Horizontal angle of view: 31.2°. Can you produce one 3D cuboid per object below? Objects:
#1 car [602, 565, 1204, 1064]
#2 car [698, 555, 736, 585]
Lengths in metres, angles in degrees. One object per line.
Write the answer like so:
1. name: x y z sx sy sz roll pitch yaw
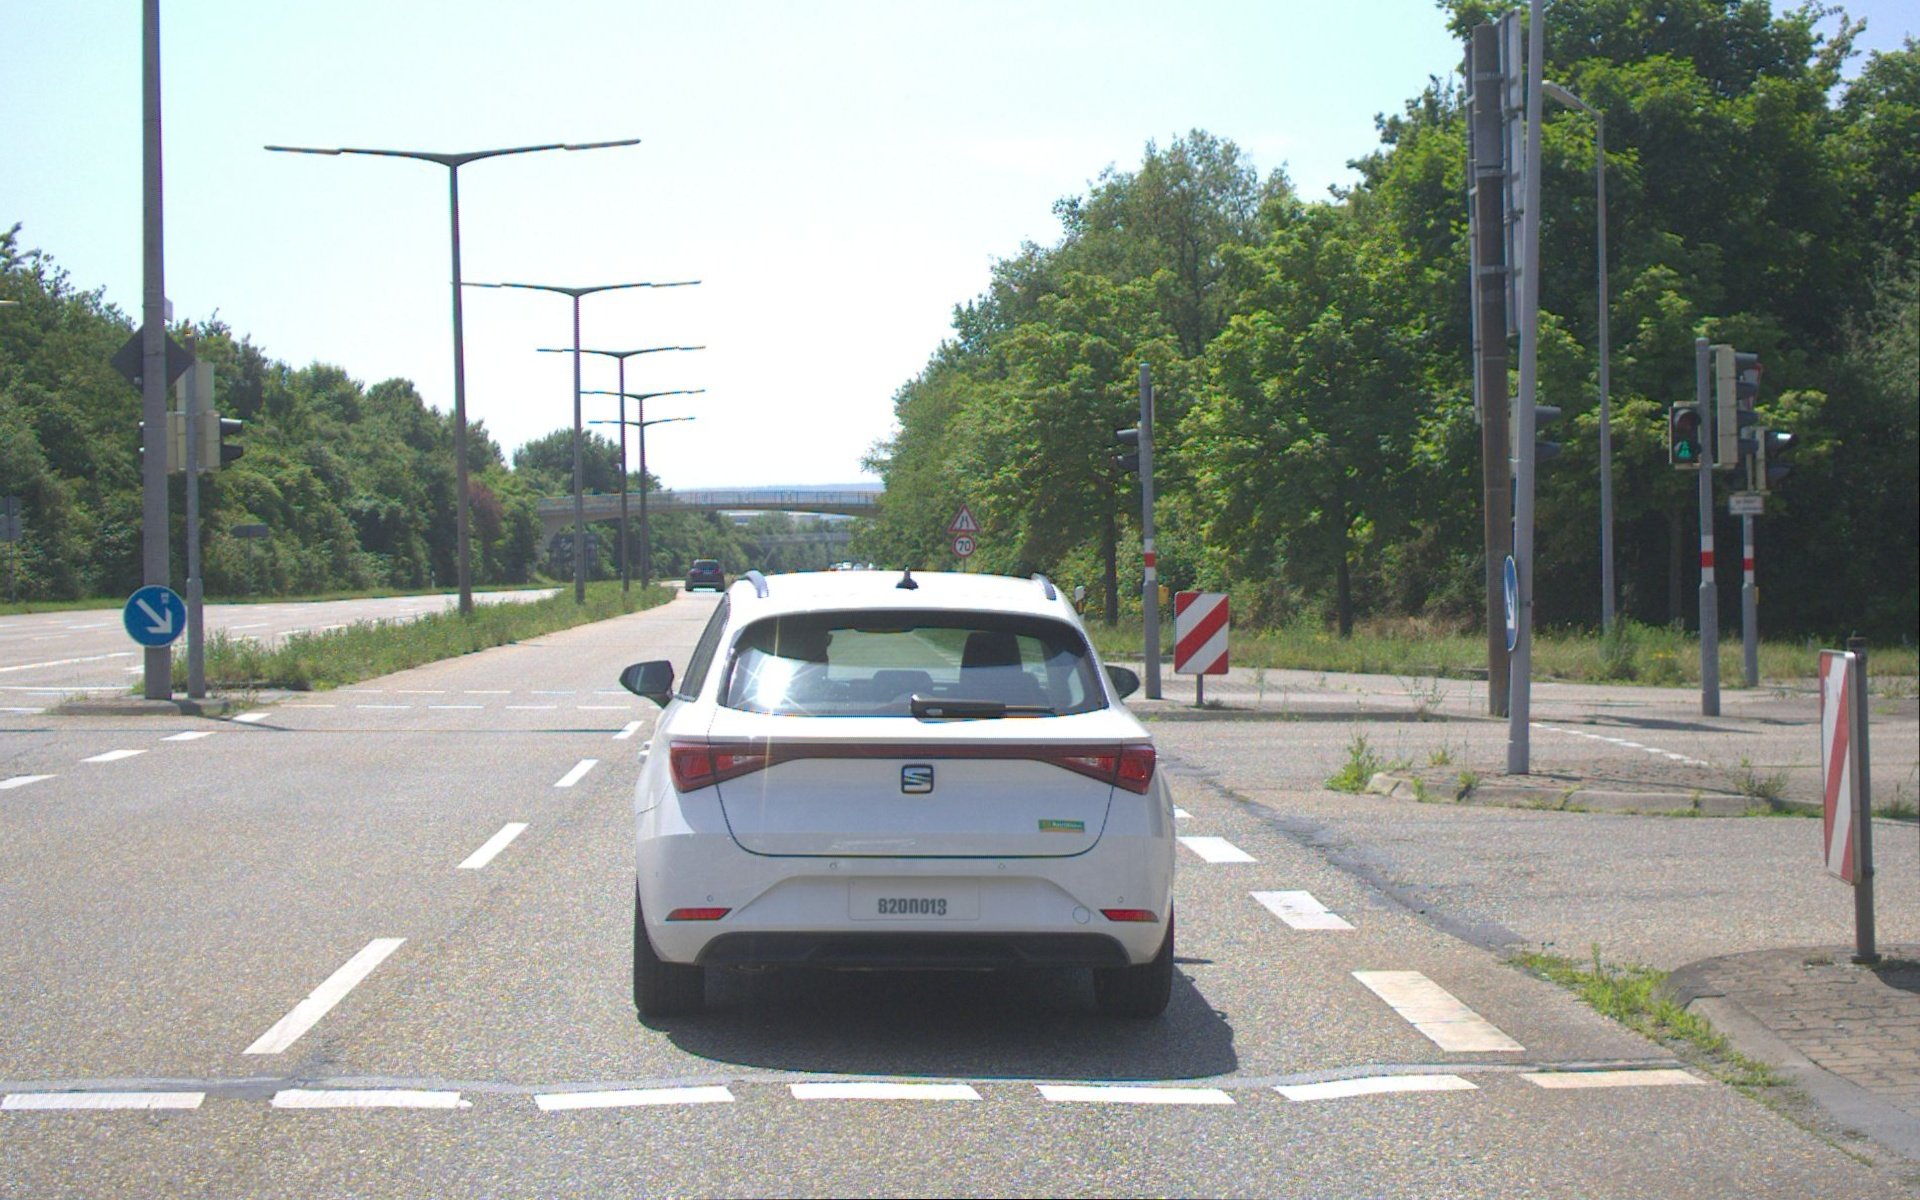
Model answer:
1. car: -0.222 0.628 11.933 1.734 1.424 3.695 1 0 -2
2. car: -13.887 -1.739 196.894 1.855 1.703 4.000 0 1 0
